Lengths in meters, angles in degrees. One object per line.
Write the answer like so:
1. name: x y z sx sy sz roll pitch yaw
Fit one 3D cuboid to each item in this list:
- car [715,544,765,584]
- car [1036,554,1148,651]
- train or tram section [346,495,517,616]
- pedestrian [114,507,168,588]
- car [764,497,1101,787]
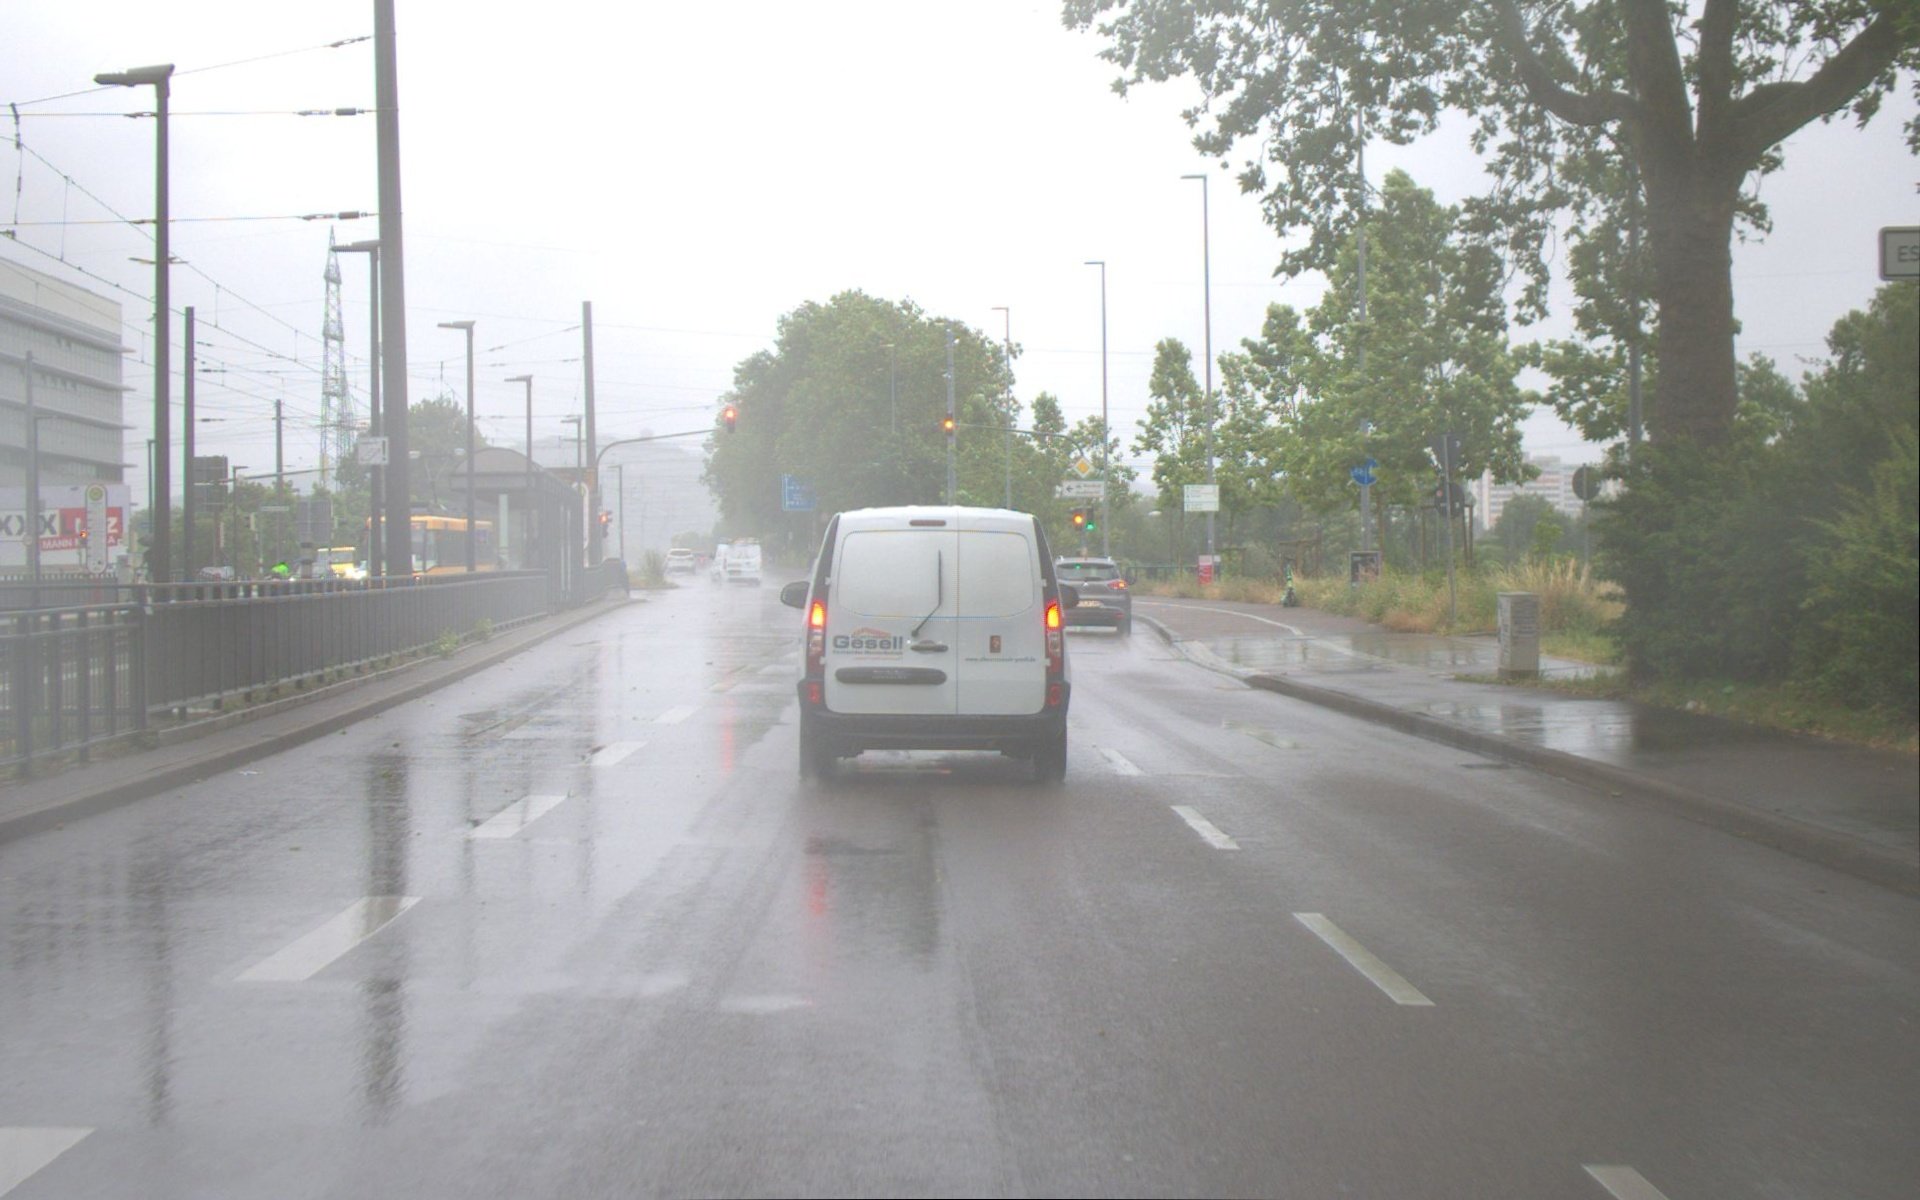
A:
1. car: -10.138 -1.651 158.271 1.993 1.744 4.001 1 0 -7
2. car: 2.466 0.027 65.134 1.993 1.744 4.000 1 0 1
3. train or tram section: -19.732 -1.632 130.550 3.770 4.023 27.096 1 0 -3
4. pedestrian: -20.814 -1.334 87.347 1.088 2.007 1.096 1 0 -1
5. car: -0.289 0.247 23.560 2.024 1.769 4.275 1 0 -4
